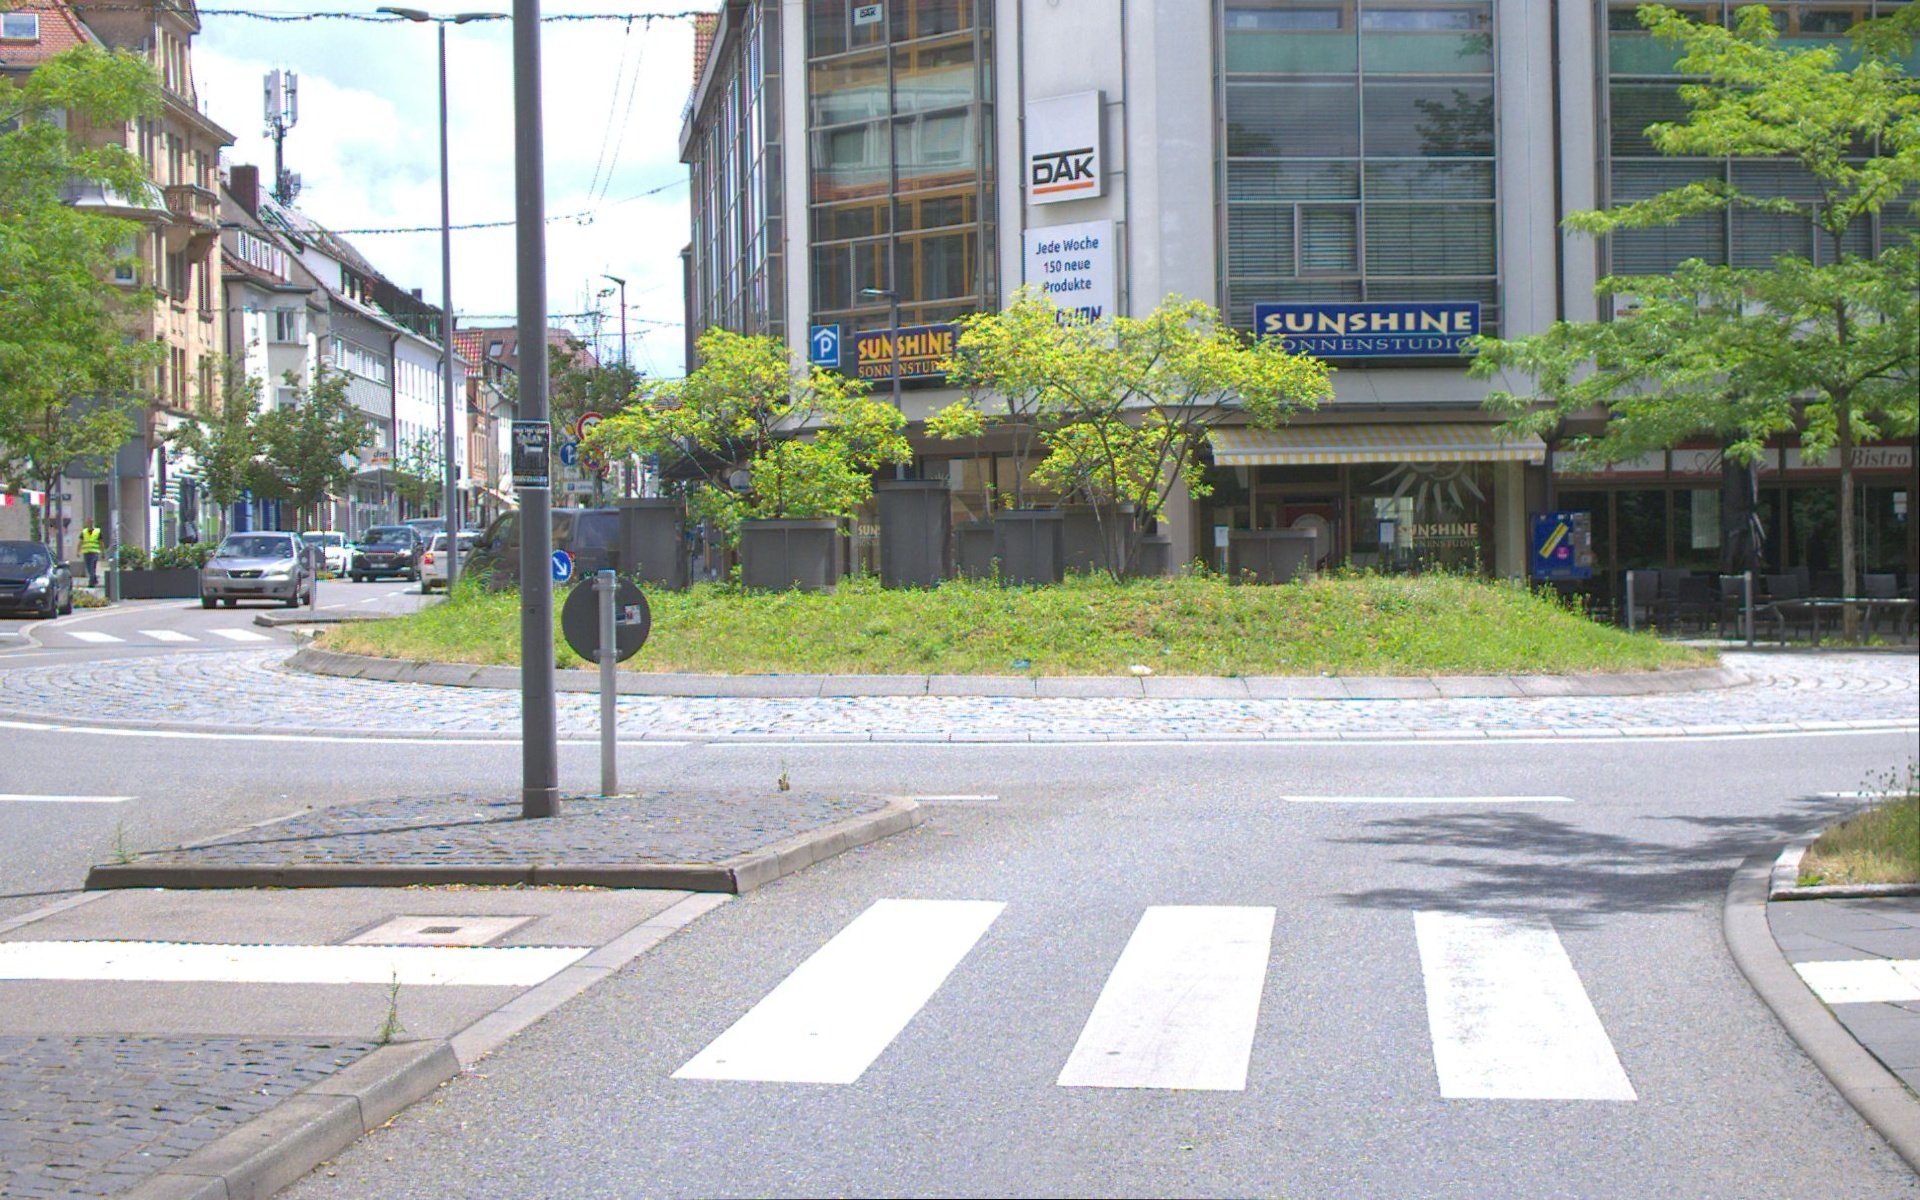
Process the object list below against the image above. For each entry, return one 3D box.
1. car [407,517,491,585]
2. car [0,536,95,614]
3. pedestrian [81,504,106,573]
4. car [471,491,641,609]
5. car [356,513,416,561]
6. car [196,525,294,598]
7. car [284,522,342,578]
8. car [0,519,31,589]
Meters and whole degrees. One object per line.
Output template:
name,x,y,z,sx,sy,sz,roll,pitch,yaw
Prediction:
car,-11.931,-1.156,80.514,1.824,1.514,4.234,-1,1,-7
car,-15.855,-0.446,58.072,1.709,1.241,4.412,0,2,-5
pedestrian,-21.159,-1.493,83.961,0.551,1.680,0.516,0,1,-9
car,-6.278,-0.780,53.039,1.823,1.701,4.442,1,1,-17
car,-16.846,-1.863,100.824,1.709,1.349,4.001,0,2,-10
car,-13.759,-0.769,66.302,1.709,1.349,4.001,0,2,-10
car,-20.333,-1.585,108.153,1.709,1.706,4.001,0,2,-10
car,-26.289,-1.182,88.447,4.417,1.769,2.001,-1,1,-22
